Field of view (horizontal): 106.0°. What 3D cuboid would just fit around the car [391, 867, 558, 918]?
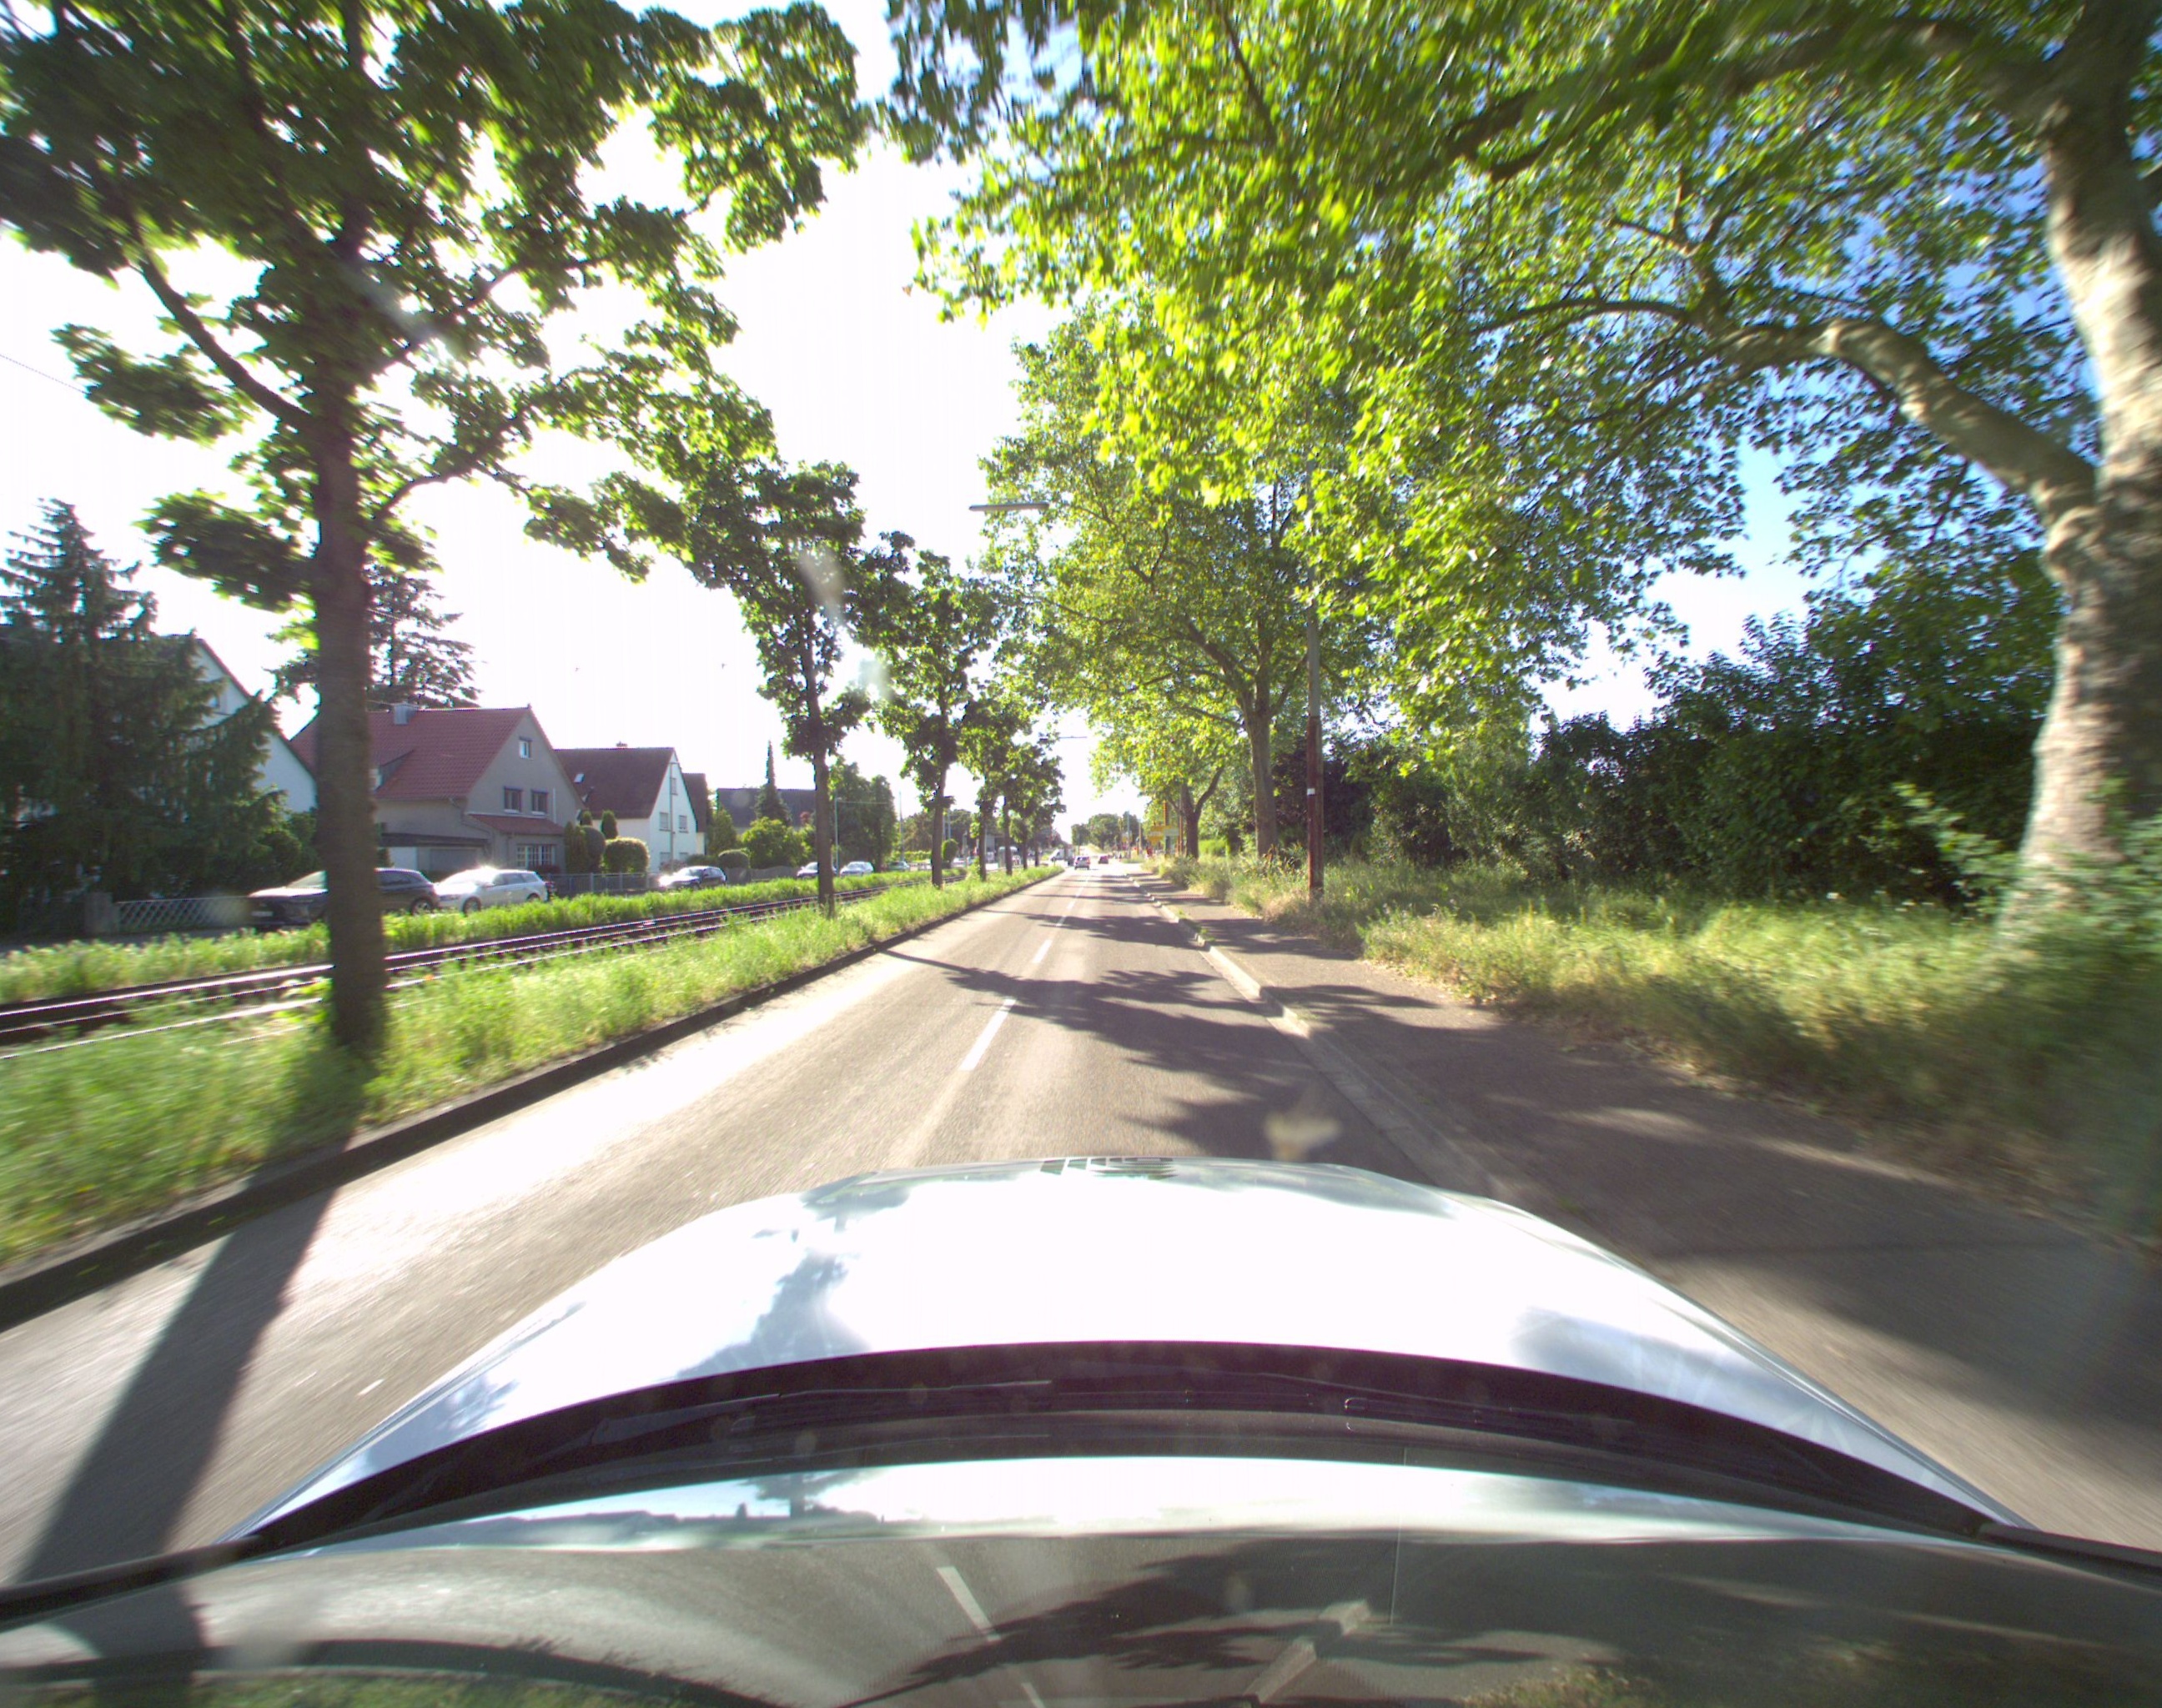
[{"bbox_3d":[-20.403,1.234,27.721,1.986,1.545,4.782,0,0,2],"label":"car"}]

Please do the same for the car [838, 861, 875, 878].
[{"bbox_3d":[-19.209,1.294,69.967,1.853,1.431,4.463,0,0,1],"label":"car"}]

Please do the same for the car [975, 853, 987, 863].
[{"bbox_3d":[-22.184,0.880,180.947,2.083,2.354,5.256,0,0,-2],"label":"car"}]

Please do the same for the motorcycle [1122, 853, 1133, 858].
[{"bbox_3d":[10.708,0.257,188.352,2.384,1.183,0.724,0,-1,-25],"label":"motorcycle"}]

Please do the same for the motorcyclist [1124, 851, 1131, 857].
[{"bbox_3d":[10.726,-0.065,188.358,1.321,1.449,0.724,0,-1,-25],"label":"motorcyclist"}]

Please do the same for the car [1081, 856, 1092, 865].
[{"bbox_3d":[0.971,1.218,144.983,1.986,1.603,4.474,0,0,1],"label":"car"}]

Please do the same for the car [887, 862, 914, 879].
[{"bbox_3d":[-18.845,1.713,85.095,1.771,1.707,4.229,0,0,1],"label":"car"}]

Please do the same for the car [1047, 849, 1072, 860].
[{"bbox_3d":[-4.777,0.117,181.526,5.266,2.354,1.851,0,-1,-23],"label":"car"}]

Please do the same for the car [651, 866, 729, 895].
[{"bbox_3d":[-19.978,1.336,41.794,1.853,1.369,4.229,0,0,1],"label":"car"}]

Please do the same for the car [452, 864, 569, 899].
[{"bbox_3d":[-25.675,1.232,36.756,3.904,1.452,1.889,1,1,1],"label":"car"}]

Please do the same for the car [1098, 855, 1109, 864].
[{"bbox_3d":[3.810,0.951,139.724,1.785,1.559,4.229,0,0,1],"label":"car"}]

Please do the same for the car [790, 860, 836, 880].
[{"bbox_3d":[-19.645,1.166,59.879,1.853,1.413,4.159,0,0,1],"label":"car"}]

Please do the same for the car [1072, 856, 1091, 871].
[{"bbox_3d":[0.091,1.026,86.771,1.853,1.601,4.229,0,0,1],"label":"car"}]

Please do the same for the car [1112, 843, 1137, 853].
[{"bbox_3d":[9.430,-1.269,178.117,5.170,2.275,1.986,0,-1,-23],"label":"car"}]

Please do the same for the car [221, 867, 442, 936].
[{"bbox_3d":[-20.182,1.197,22.267,1.741,1.651,4.556,0,0,1],"label":"car"}]
